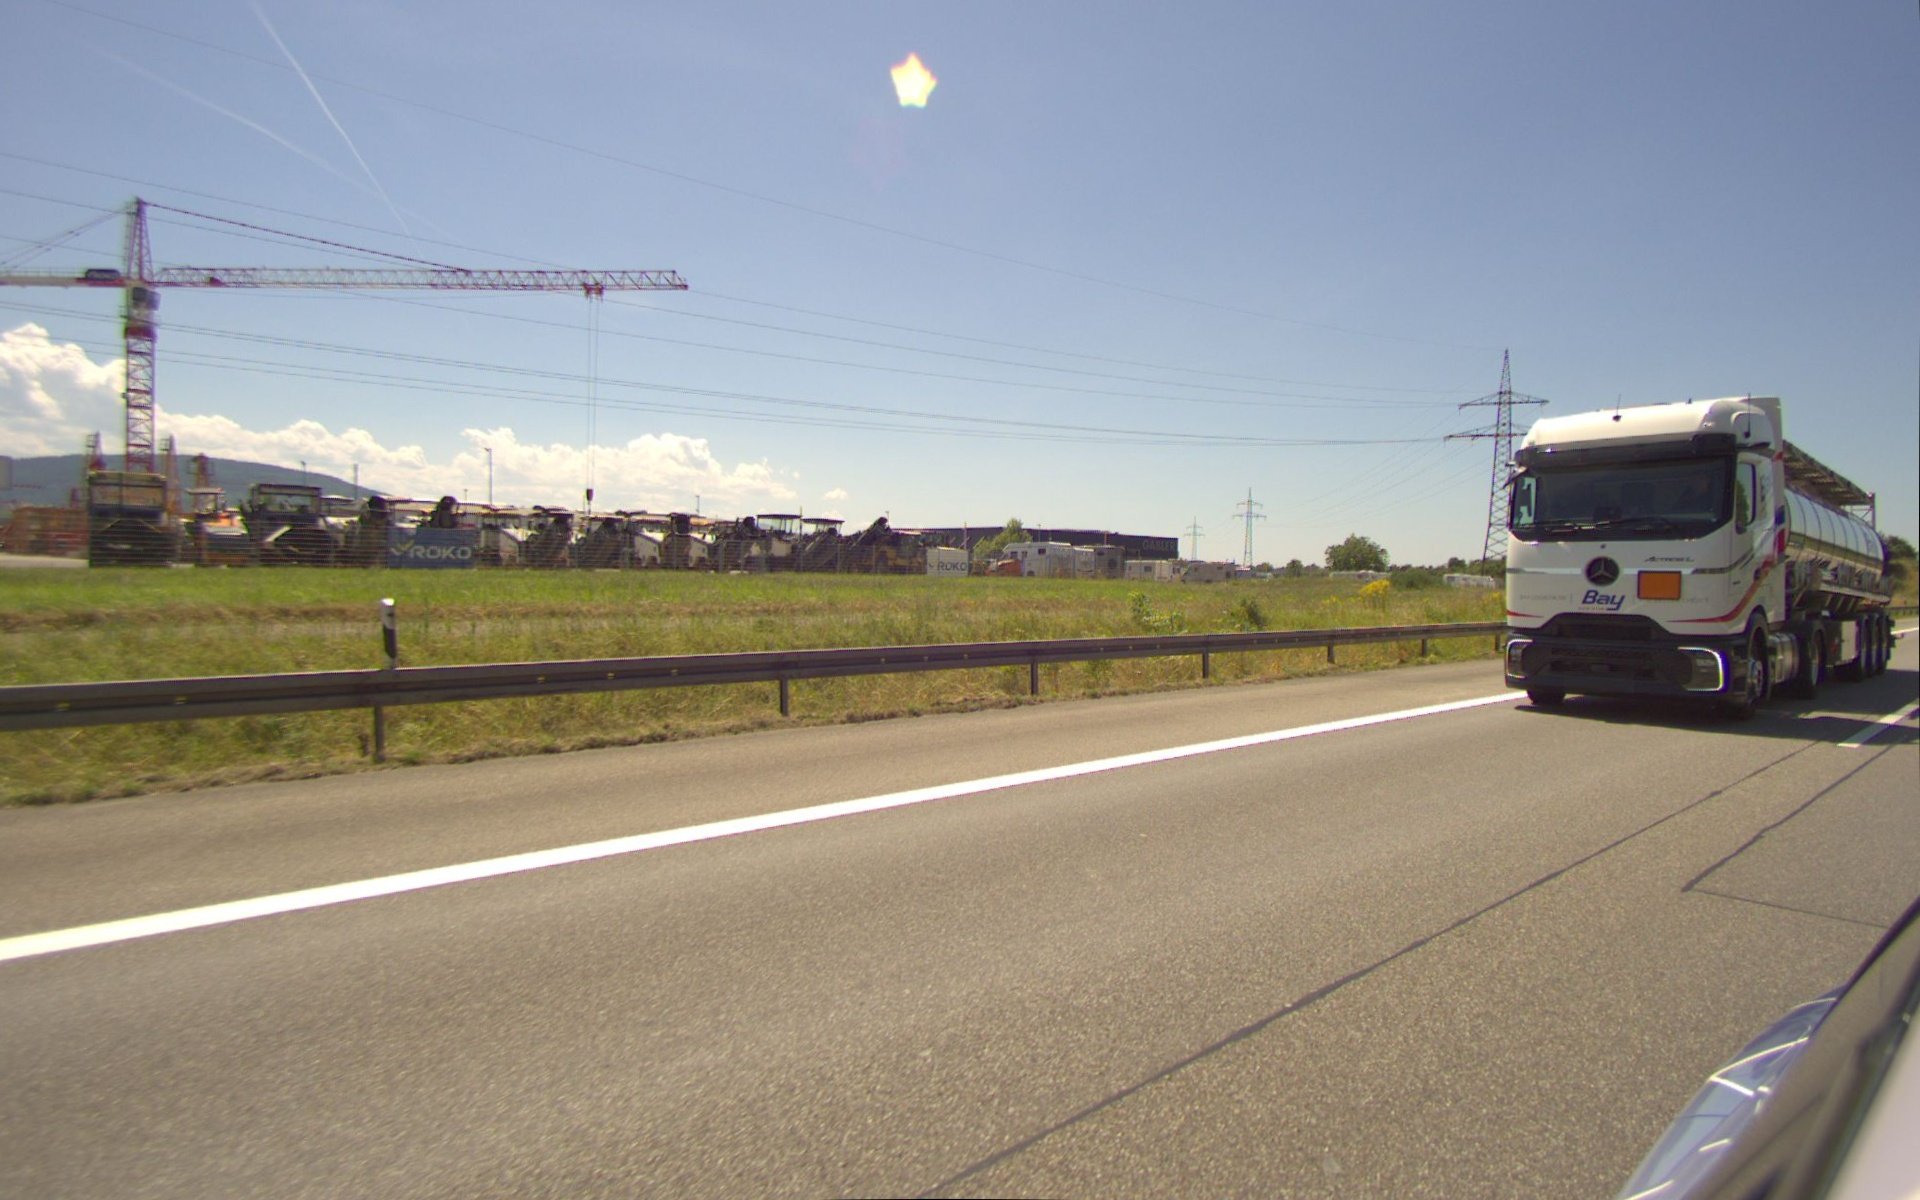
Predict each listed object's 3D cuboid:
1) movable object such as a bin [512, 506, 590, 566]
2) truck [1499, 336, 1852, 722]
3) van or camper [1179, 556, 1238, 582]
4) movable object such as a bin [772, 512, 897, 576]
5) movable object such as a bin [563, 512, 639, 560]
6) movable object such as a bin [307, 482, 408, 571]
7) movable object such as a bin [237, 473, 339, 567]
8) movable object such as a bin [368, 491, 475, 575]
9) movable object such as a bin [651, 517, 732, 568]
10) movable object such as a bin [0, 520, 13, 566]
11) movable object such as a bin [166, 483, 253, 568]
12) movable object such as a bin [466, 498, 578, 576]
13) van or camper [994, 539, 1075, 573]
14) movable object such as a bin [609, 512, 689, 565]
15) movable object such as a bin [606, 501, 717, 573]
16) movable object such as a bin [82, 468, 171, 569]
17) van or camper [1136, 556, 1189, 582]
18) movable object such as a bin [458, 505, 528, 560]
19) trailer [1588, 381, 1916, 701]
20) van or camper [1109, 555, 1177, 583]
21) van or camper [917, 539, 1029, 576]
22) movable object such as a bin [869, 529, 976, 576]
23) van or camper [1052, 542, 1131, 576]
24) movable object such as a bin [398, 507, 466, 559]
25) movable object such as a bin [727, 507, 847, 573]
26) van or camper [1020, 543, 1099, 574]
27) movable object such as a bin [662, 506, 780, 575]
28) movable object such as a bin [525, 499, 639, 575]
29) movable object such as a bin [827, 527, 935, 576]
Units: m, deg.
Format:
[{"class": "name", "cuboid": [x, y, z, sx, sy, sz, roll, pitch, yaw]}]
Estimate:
[{"class": "movable object such as a bin", "cuboid": [-28.938, -4.486, 71.329, 3.076, 3.884, 8.778, 0, 3, -36]}, {"class": "truck", "cuboid": [9.980, -0.758, 13.851, 6.282, 4.124, 2.577, 0, 0, -42]}, {"class": "van or camper", "cuboid": [29.034, -3.686, 118.631, 2.381, 2.801, 6.456, 0, 2, -42]}, {"class": "movable object such as a bin", "cuboid": [-8.242, -3.641, 65.034, 3.356, 3.734, 9.745, 0, 3, -38]}, {"class": "movable object such as a bin", "cuboid": [-26.140, -4.658, 73.427, 2.867, 3.188, 8.719, 0, 3, -36]}, {"class": "movable object such as a bin", "cuboid": [-28.320, -3.412, 47.296, 2.351, 3.734, 10.277, 0, 3, -40]}, {"class": "movable object such as a bin", "cuboid": [-30.401, -3.537, 45.558, 2.618, 3.734, 10.277, 0, 3, -40]}, {"class": "movable object such as a bin", "cuboid": [-26.797, -3.329, 50.113, 2.631, 3.734, 9.739, 0, 3, -40]}, {"class": "movable object such as a bin", "cuboid": [-20.622, -4.440, 77.284, 2.867, 3.615, 9.075, 0, 3, -36]}, {"class": "movable object such as a bin", "cuboid": [-55.612, -3.150, 54.336, 6.340, 2.493, 2.930, 1, 2, -19]}, {"class": "movable object such as a bin", "cuboid": [-33.115, -3.240, 44.499, 2.488, 3.348, 9.125, 0, 3, -40]}, {"class": "movable object such as a bin", "cuboid": [-23.101, -3.327, 53.051, 2.631, 3.734, 9.739, 0, 3, -40]}, {"class": "van or camper", "cuboid": [5.588, -3.337, 76.423, 2.555, 2.431, 6.133, 0, 2, -39]}, {"class": "movable object such as a bin", "cuboid": [-23.201, -4.566, 75.168, 2.867, 3.615, 9.075, 0, 3, -36]}, {"class": "movable object such as a bin", "cuboid": [-17.148, -3.583, 57.629, 2.585, 3.734, 9.745, 0, 3, -38]}, {"class": "movable object such as a bin", "cuboid": [-35.144, -3.361, 42.599, 2.618, 3.734, 10.277, 0, 3, -40]}, {"class": "van or camper", "cuboid": [22.515, -3.486, 112.707, 2.572, 2.710, 5.266, 0, 2, -42]}, {"class": "movable object such as a bin", "cuboid": [-31.936, -4.593, 69.031, 2.867, 3.466, 8.215, 0, 3, -36]}, {"class": "trailer", "cuboid": [14.248, -0.760, 17.657, 10.910, 4.126, 2.584, 0, 0, -42]}, {"class": "van or camper", "cuboid": [19.248, -3.306, 106.894, 3.267, 2.710, 6.364, 0, 2, -41]}, {"class": "van or camper", "cuboid": [0.814, -3.197, 75.319, 3.103, 2.552, 9.336, 0, 2, -39]}, {"class": "movable object such as a bin", "cuboid": [-2.727, -3.363, 70.125, 3.153, 3.043, 8.763, 0, 3, -34]}, {"class": "van or camper", "cuboid": [10.393, -3.285, 80.549, 2.394, 2.584, 6.360, 1, 2, -39]}, {"class": "movable object such as a bin", "cuboid": [-34.893, -4.388, 66.727, 2.867, 3.188, 8.007, 0, 3, -36]}, {"class": "movable object such as a bin", "cuboid": [-10.879, -3.717, 62.532, 2.922, 3.734, 9.744, 0, 3, -38]}, {"class": "van or camper", "cuboid": [7.631, -3.244, 78.378, 2.555, 2.247, 6.133, 0, 2, -39]}, {"class": "movable object such as a bin", "cuboid": [-14.272, -3.537, 59.732, 2.922, 3.734, 9.745, 0, 3, -38]}, {"class": "movable object such as a bin", "cuboid": [-20.741, -3.450, 55.079, 2.631, 3.734, 9.739, 0, 3, -40]}, {"class": "movable object such as a bin", "cuboid": [-5.449, -3.325, 67.949, 2.901, 3.043, 8.757, 0, 3, -37]}]
